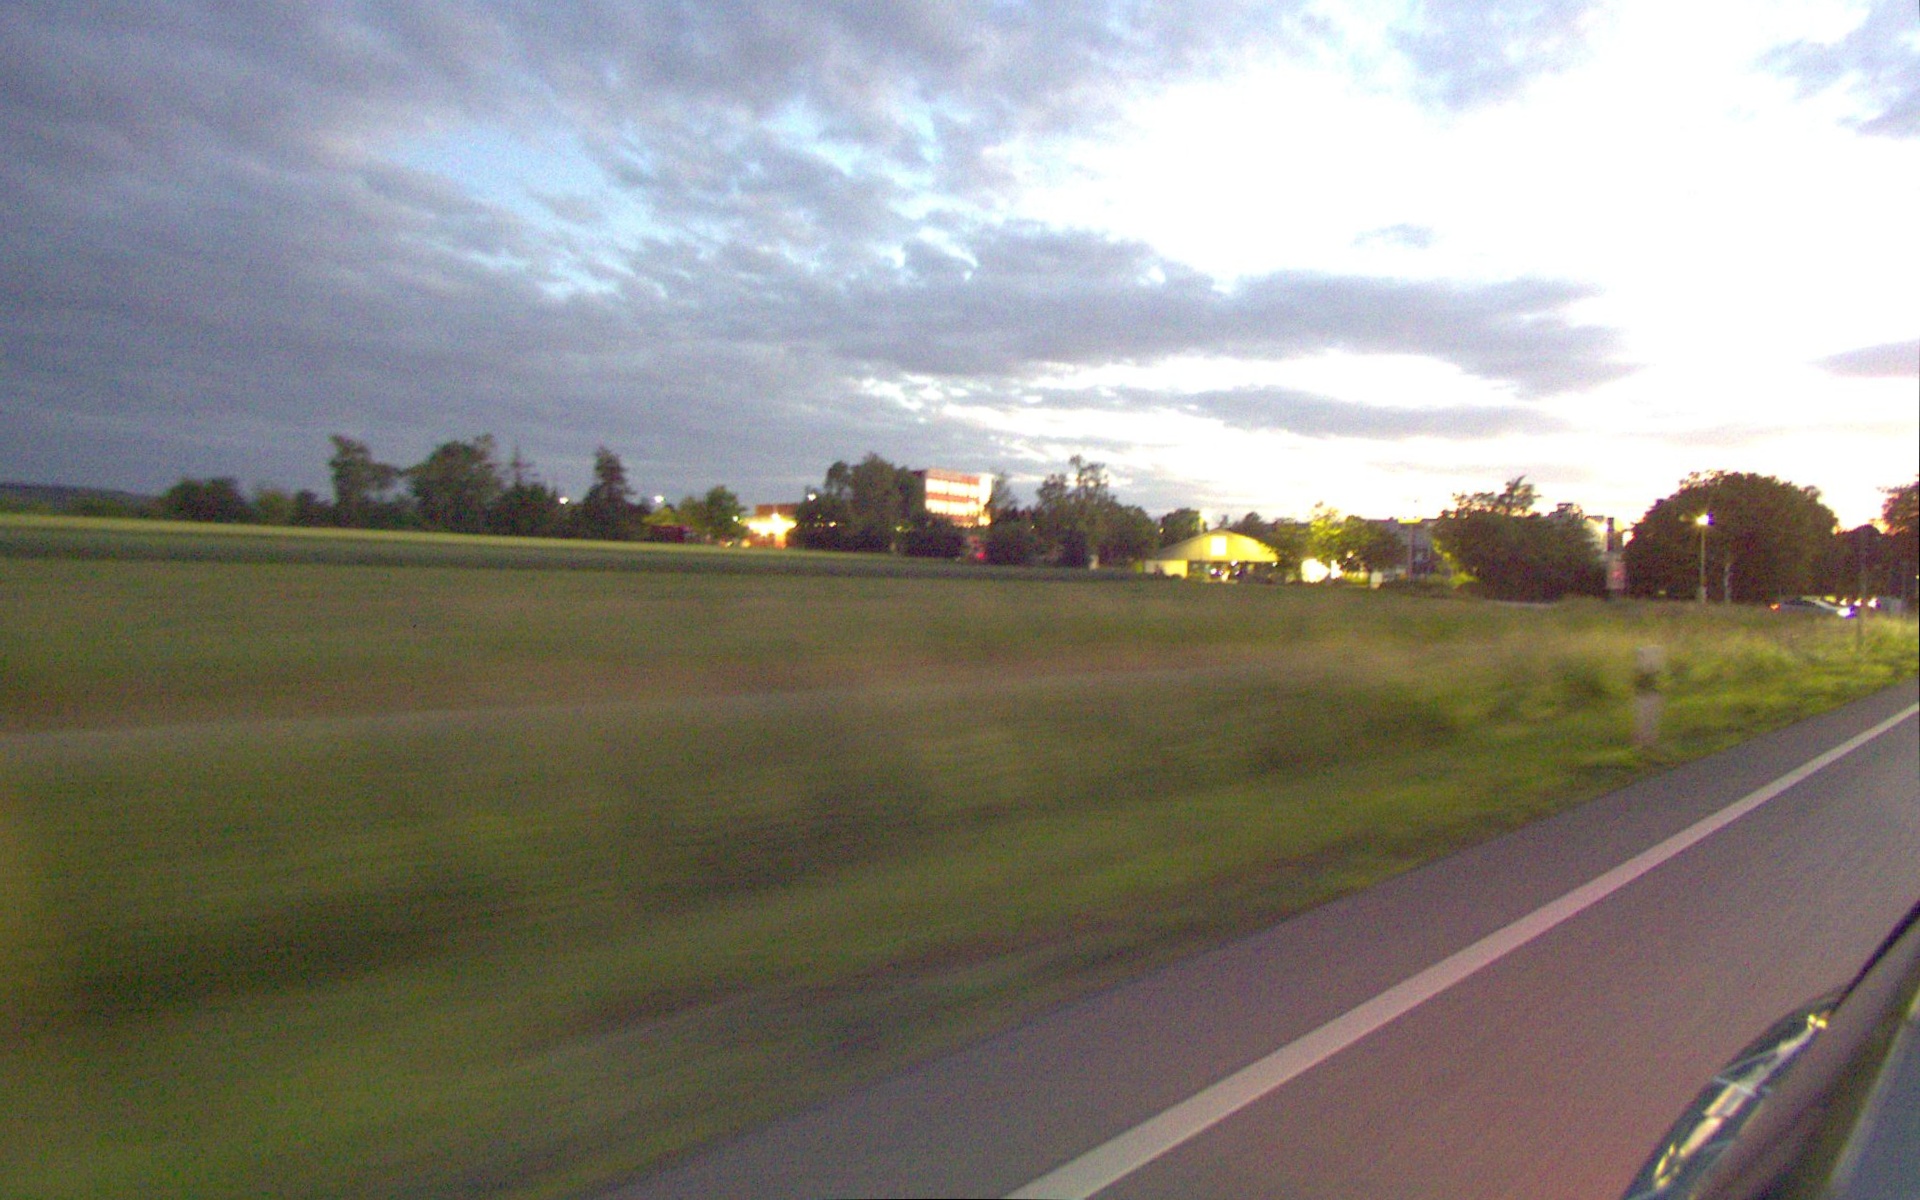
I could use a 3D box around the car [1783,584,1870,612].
[{"bbox_3d":[60.249,-0.164,70.410,4.463,1.684,1.969,4,3,42],"label":"car"}]
